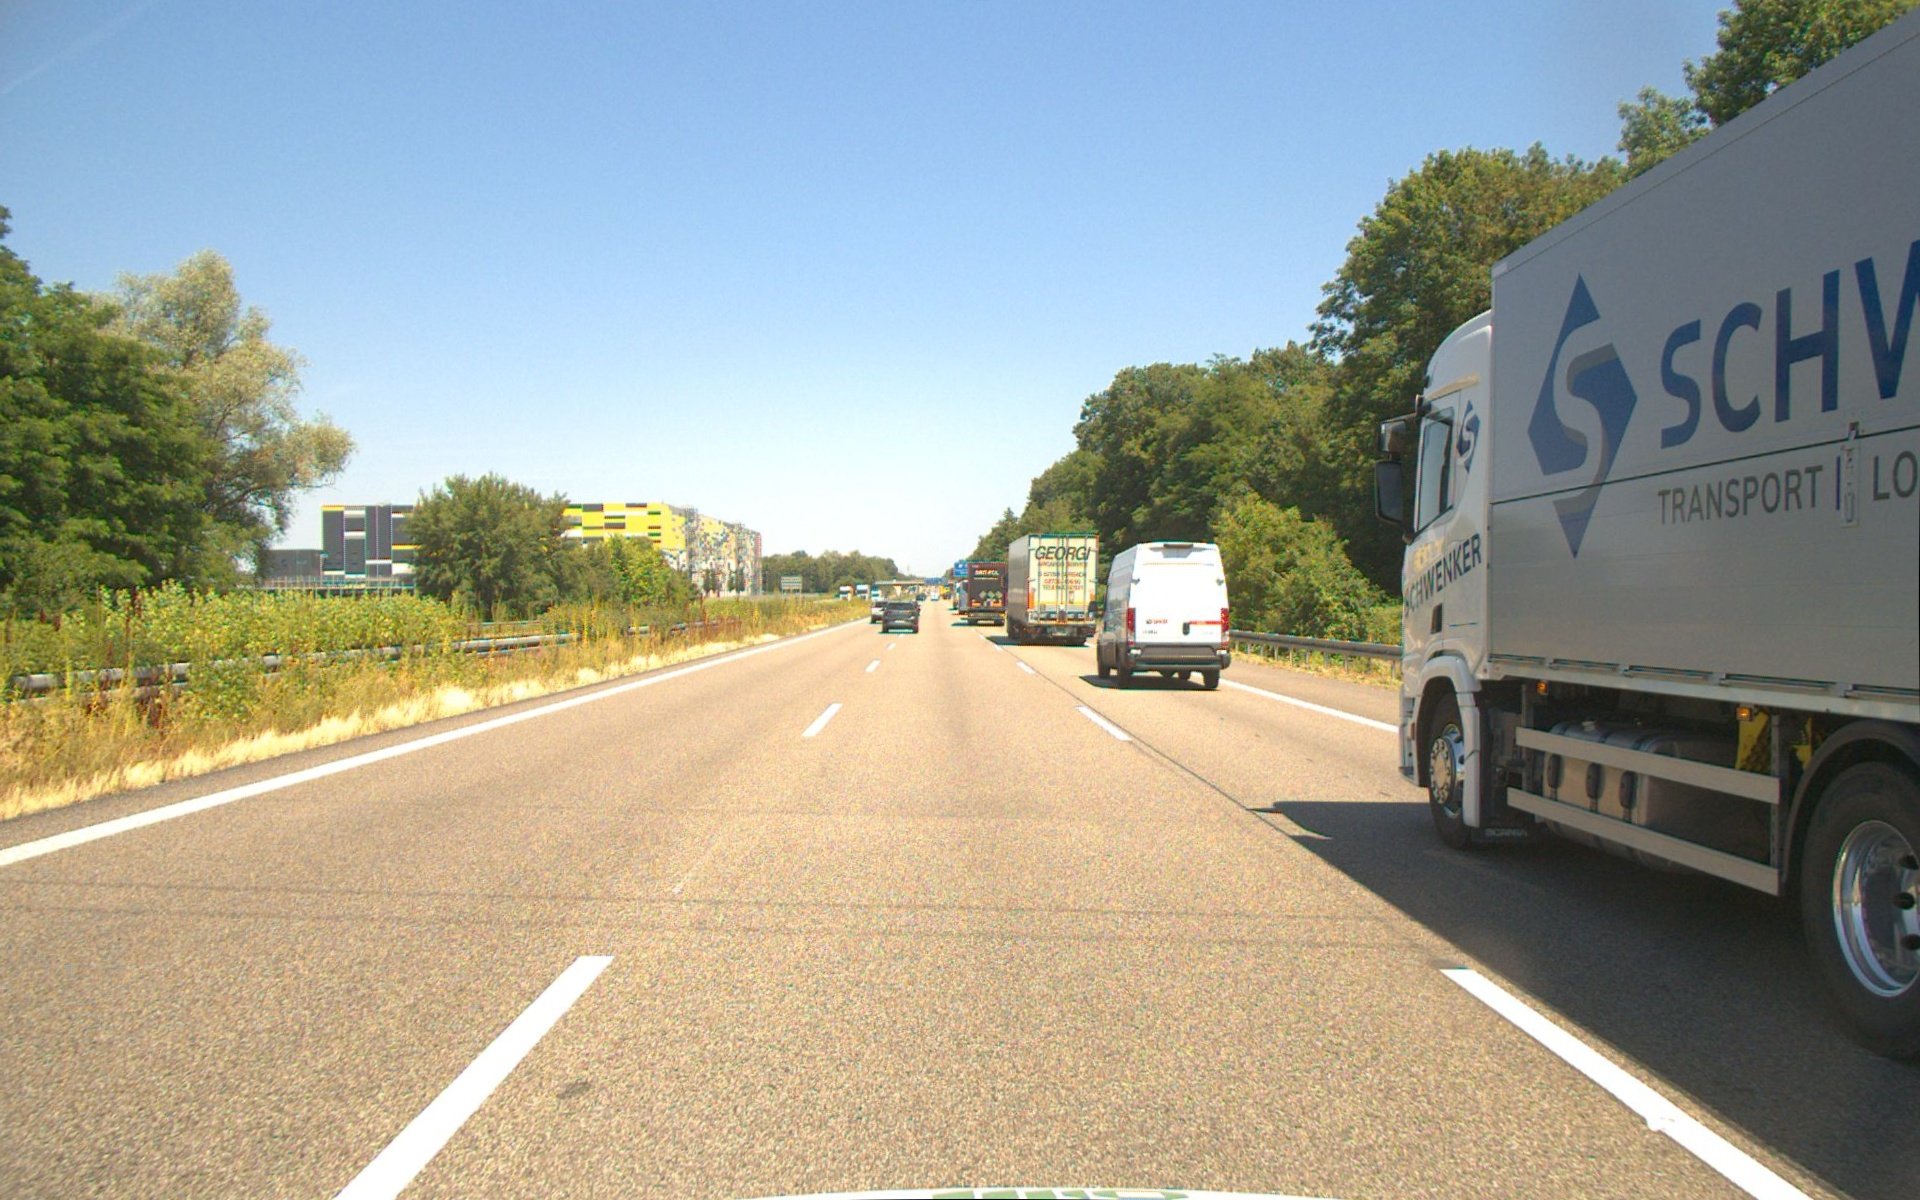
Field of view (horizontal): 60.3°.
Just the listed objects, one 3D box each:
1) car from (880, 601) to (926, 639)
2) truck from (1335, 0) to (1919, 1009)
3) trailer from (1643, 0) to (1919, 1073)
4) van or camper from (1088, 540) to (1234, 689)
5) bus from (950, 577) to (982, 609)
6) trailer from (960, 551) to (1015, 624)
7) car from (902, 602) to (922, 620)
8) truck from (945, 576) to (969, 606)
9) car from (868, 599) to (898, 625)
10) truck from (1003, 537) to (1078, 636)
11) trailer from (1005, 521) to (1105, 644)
[{"bbox_3d":[-2.793,0.963,82.346,2.171,1.821,5.392,-1,0,-1],"label":"car"},{"bbox_3d":[4.450,-0.483,9.707,2.830,4.101,6.868,1,0,-1],"label":"truck"},{"bbox_3d":[4.598,-0.507,3.836,2.861,4.112,7.315,1,0,-1],"label":"trailer"},{"bbox_3d":[3.908,0.260,33.320,1.981,2.683,6.485,1,0,-1],"label":"van or camper"},{"bbox_3d":[0.591,-0.750,179.446,3.001,3.385,8.270,-1,0,-2],"label":"bus"},{"bbox_3d":[1.766,-0.801,112.214,3.043,4.585,14.891,1,0,-2],"label":"trailer"},{"bbox_3d":[-4.726,1.069,161.920,1.902,1.736,3.999,0,0,-1],"label":"car"},{"bbox_3d":[-0.476,-1.279,241.182,3.353,4.198,9.563,-1,0,0],"label":"truck"},{"bbox_3d":[-5.248,0.799,113.223,1.953,1.758,4.129,0,0,-2],"label":"car"},{"bbox_3d":[3.504,-0.582,73.150,2.942,4.197,5.251,0,0,-1],"label":"truck"},{"bbox_3d":[3.616,-0.636,66.221,2.933,4.364,13.415,1,0,-1],"label":"trailer"}]
